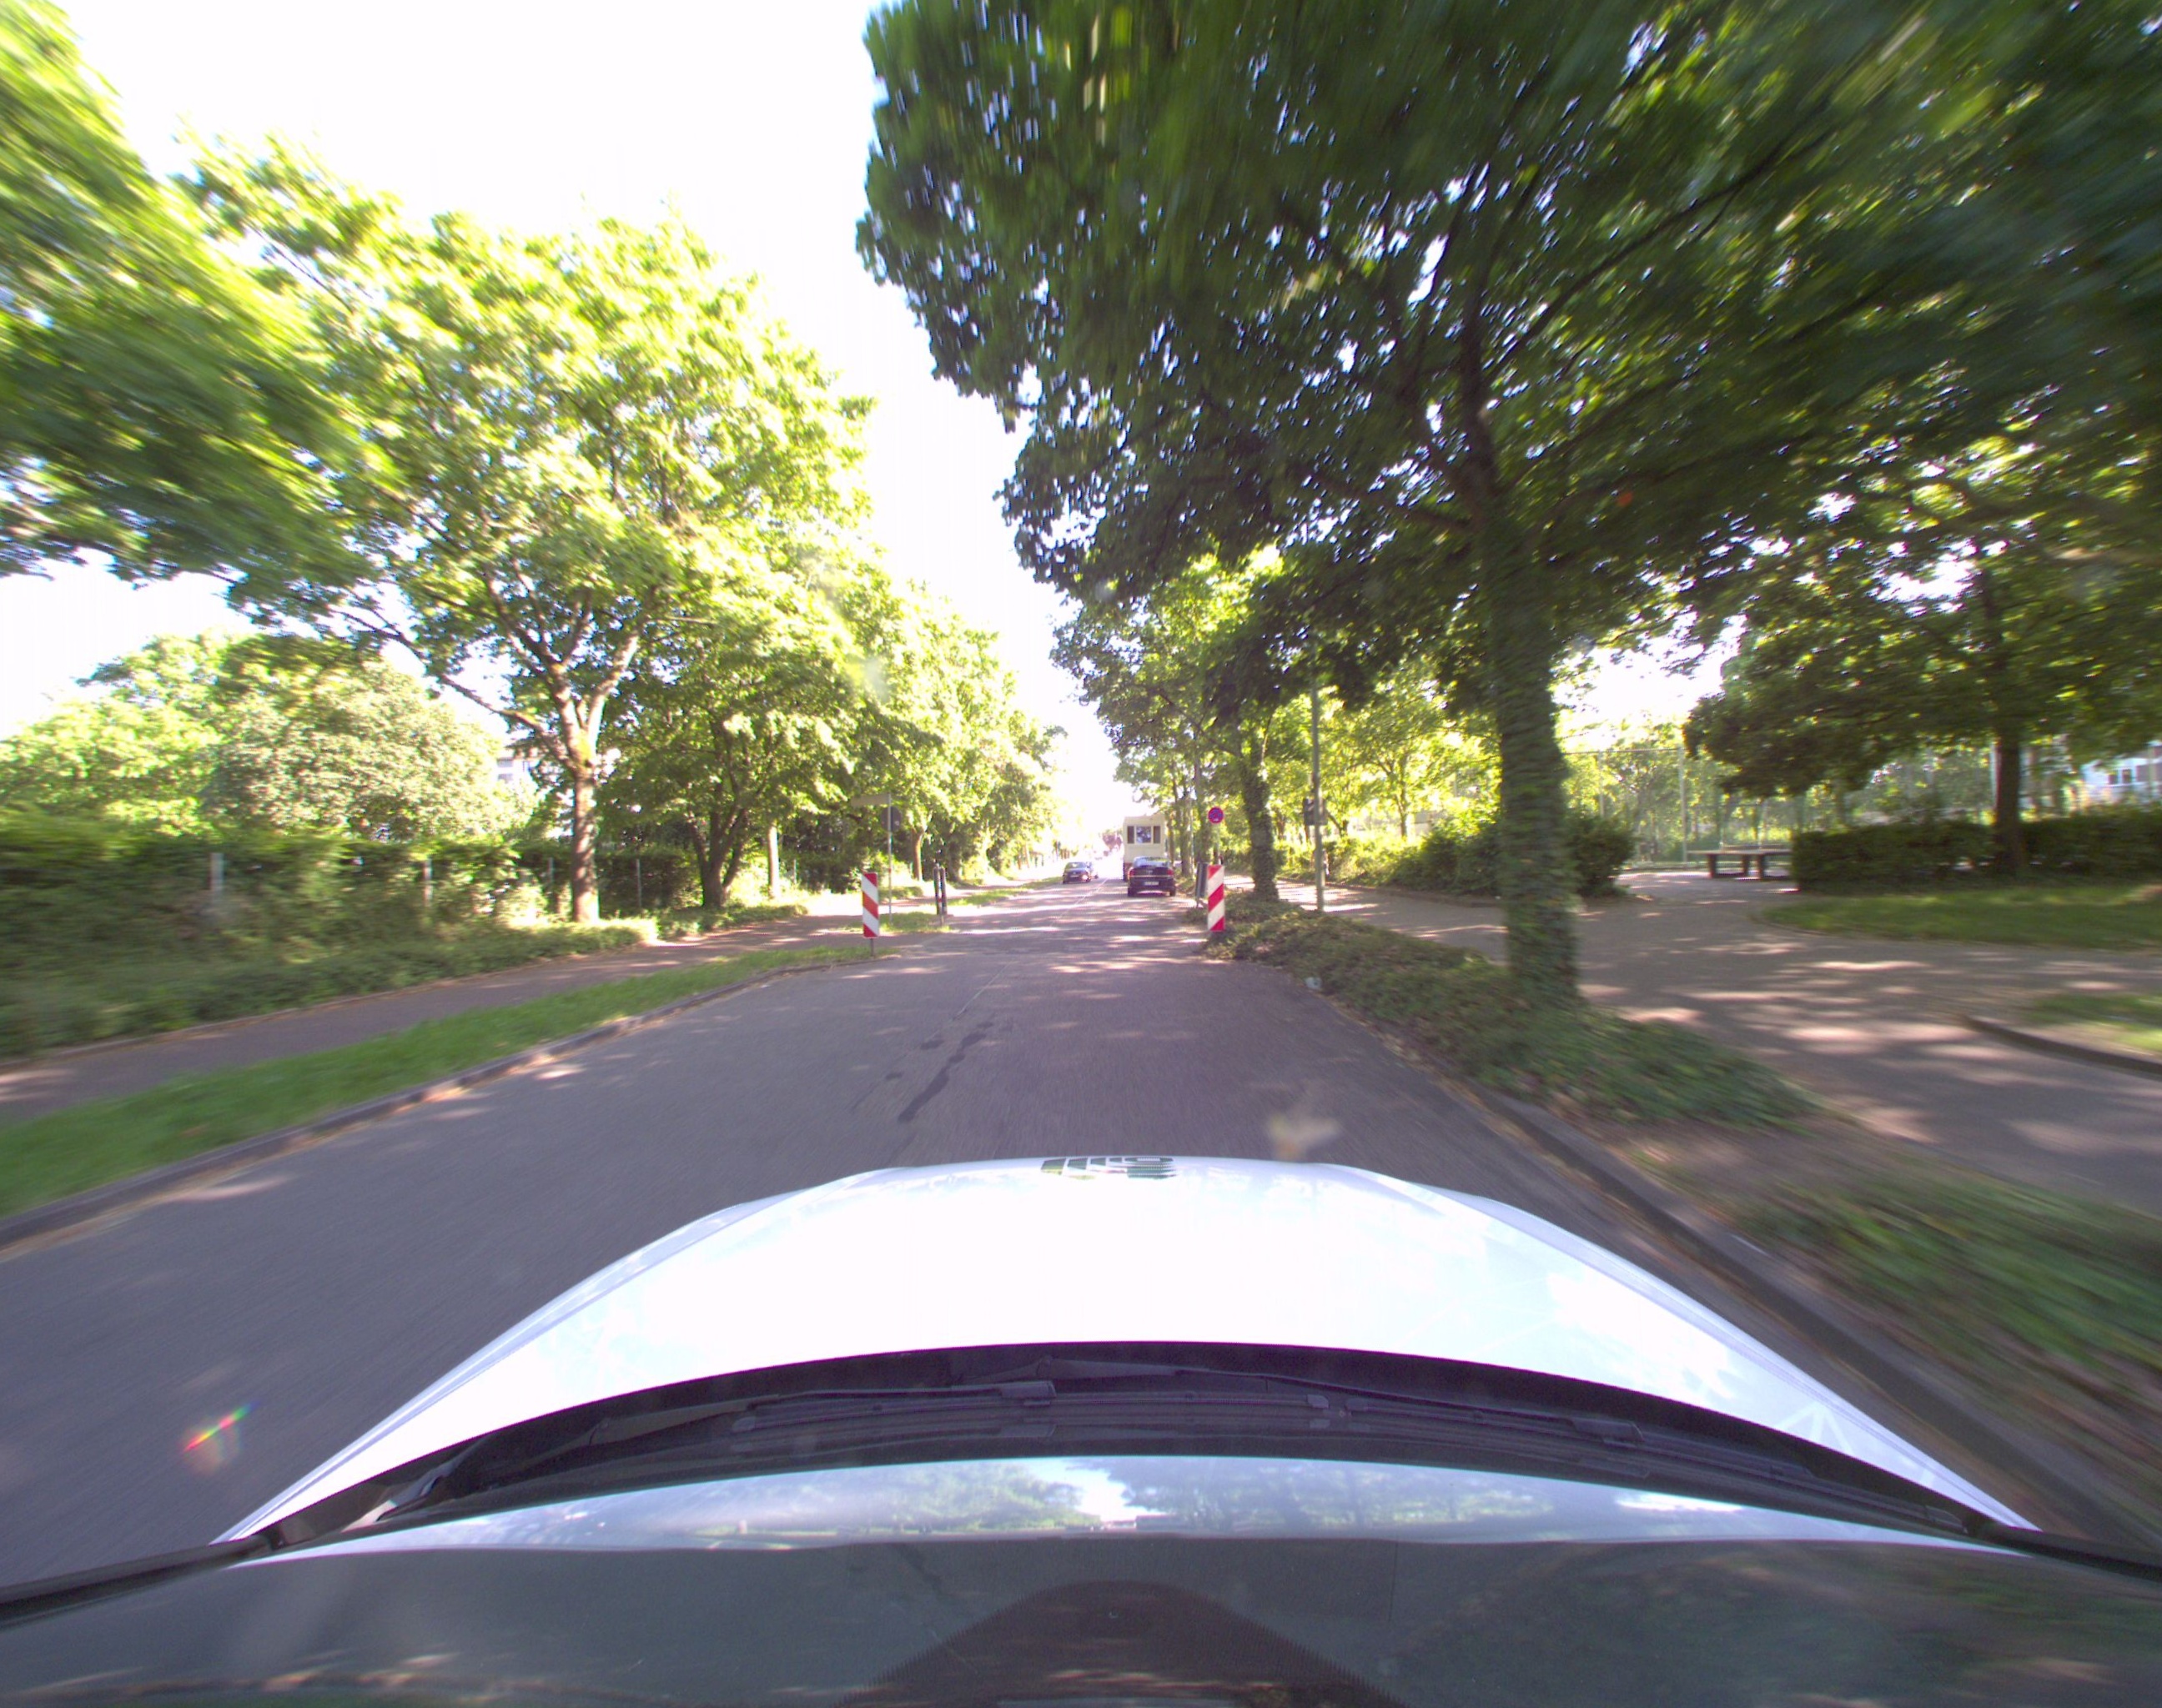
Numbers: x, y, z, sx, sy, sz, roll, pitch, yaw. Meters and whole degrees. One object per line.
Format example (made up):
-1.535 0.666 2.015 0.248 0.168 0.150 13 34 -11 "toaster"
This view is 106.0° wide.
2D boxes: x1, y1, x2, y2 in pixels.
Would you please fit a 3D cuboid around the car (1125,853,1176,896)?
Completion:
2.631 0.746 30.566 1.740 1.480 4.036 -1 -1 5 "car"

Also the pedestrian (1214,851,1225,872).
12.122 0.625 71.285 0.695 1.812 0.700 -3 0 0 "pedestrian"

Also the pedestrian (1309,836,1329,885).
8.039 0.226 27.507 0.567 1.608 0.673 -2 0 13 "pedestrian"

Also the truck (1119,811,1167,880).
3.903 -0.478 52.722 2.761 3.996 10.356 -1 0 3 "truck"

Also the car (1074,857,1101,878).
0.547 1.061 63.431 1.747 1.454 4.249 -3 0 5 "car"

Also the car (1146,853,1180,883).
4.325 0.683 42.938 1.632 1.420 4.006 -3 0 6 "car"

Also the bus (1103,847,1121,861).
7.965 0.076 207.858 4.045 3.349 9.816 -3 0 6 "bus"

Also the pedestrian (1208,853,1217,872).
11.543 0.734 71.502 0.596 1.611 0.600 -3 0 0 "pedestrian"

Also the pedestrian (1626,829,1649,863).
19.129 -0.262 28.010 0.497 1.172 0.558 1 -1 -42 "pedestrian"

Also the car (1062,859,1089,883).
-0.324 1.060 52.813 1.595 1.426 3.652 -3 0 1 "car"
